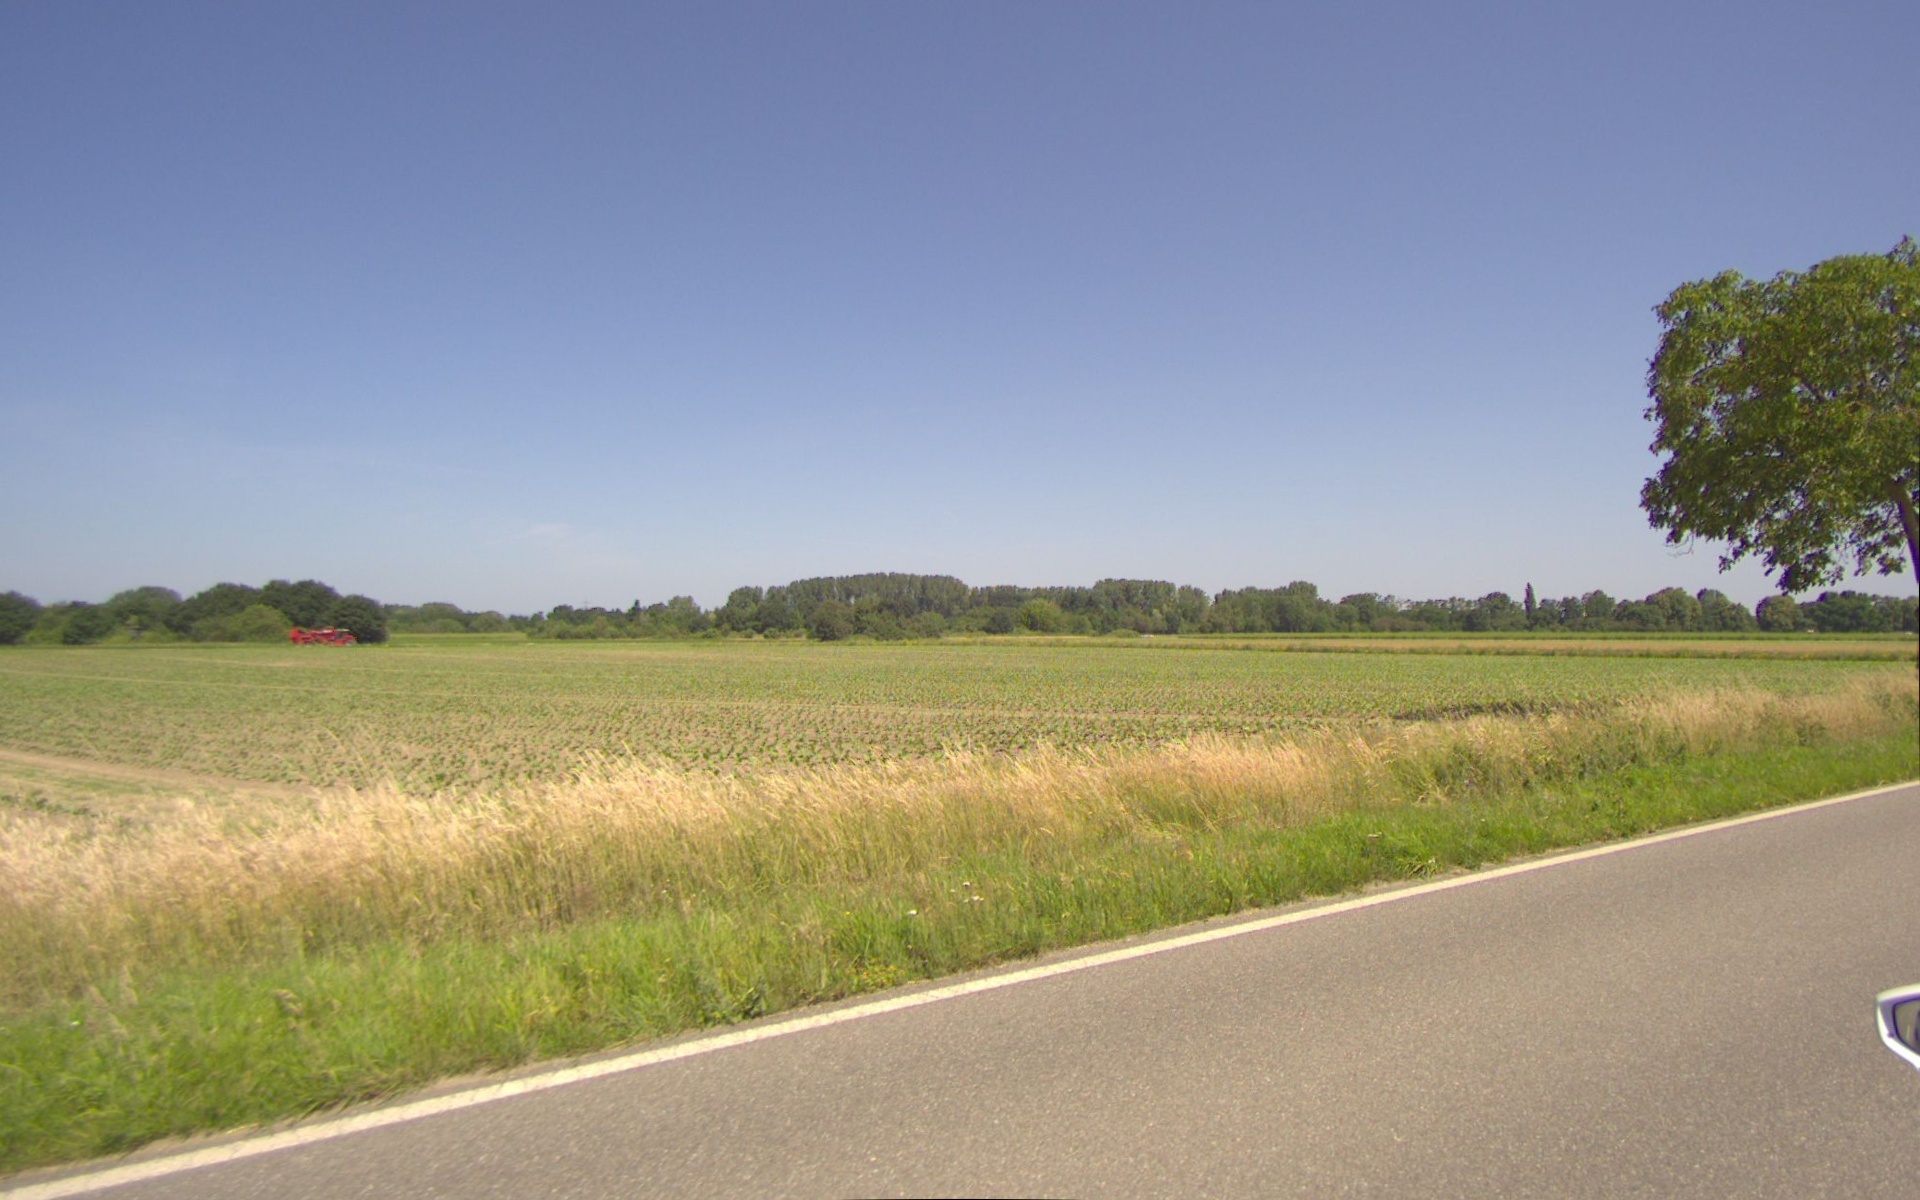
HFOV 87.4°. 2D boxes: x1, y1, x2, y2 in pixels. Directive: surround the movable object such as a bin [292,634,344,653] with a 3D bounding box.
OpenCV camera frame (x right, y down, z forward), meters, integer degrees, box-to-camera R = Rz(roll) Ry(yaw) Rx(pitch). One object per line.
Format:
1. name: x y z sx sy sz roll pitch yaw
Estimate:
1. movable object such as a bin: -133.564 9.053 209.069 9.777 3.899 2.549 -1 -2 9
